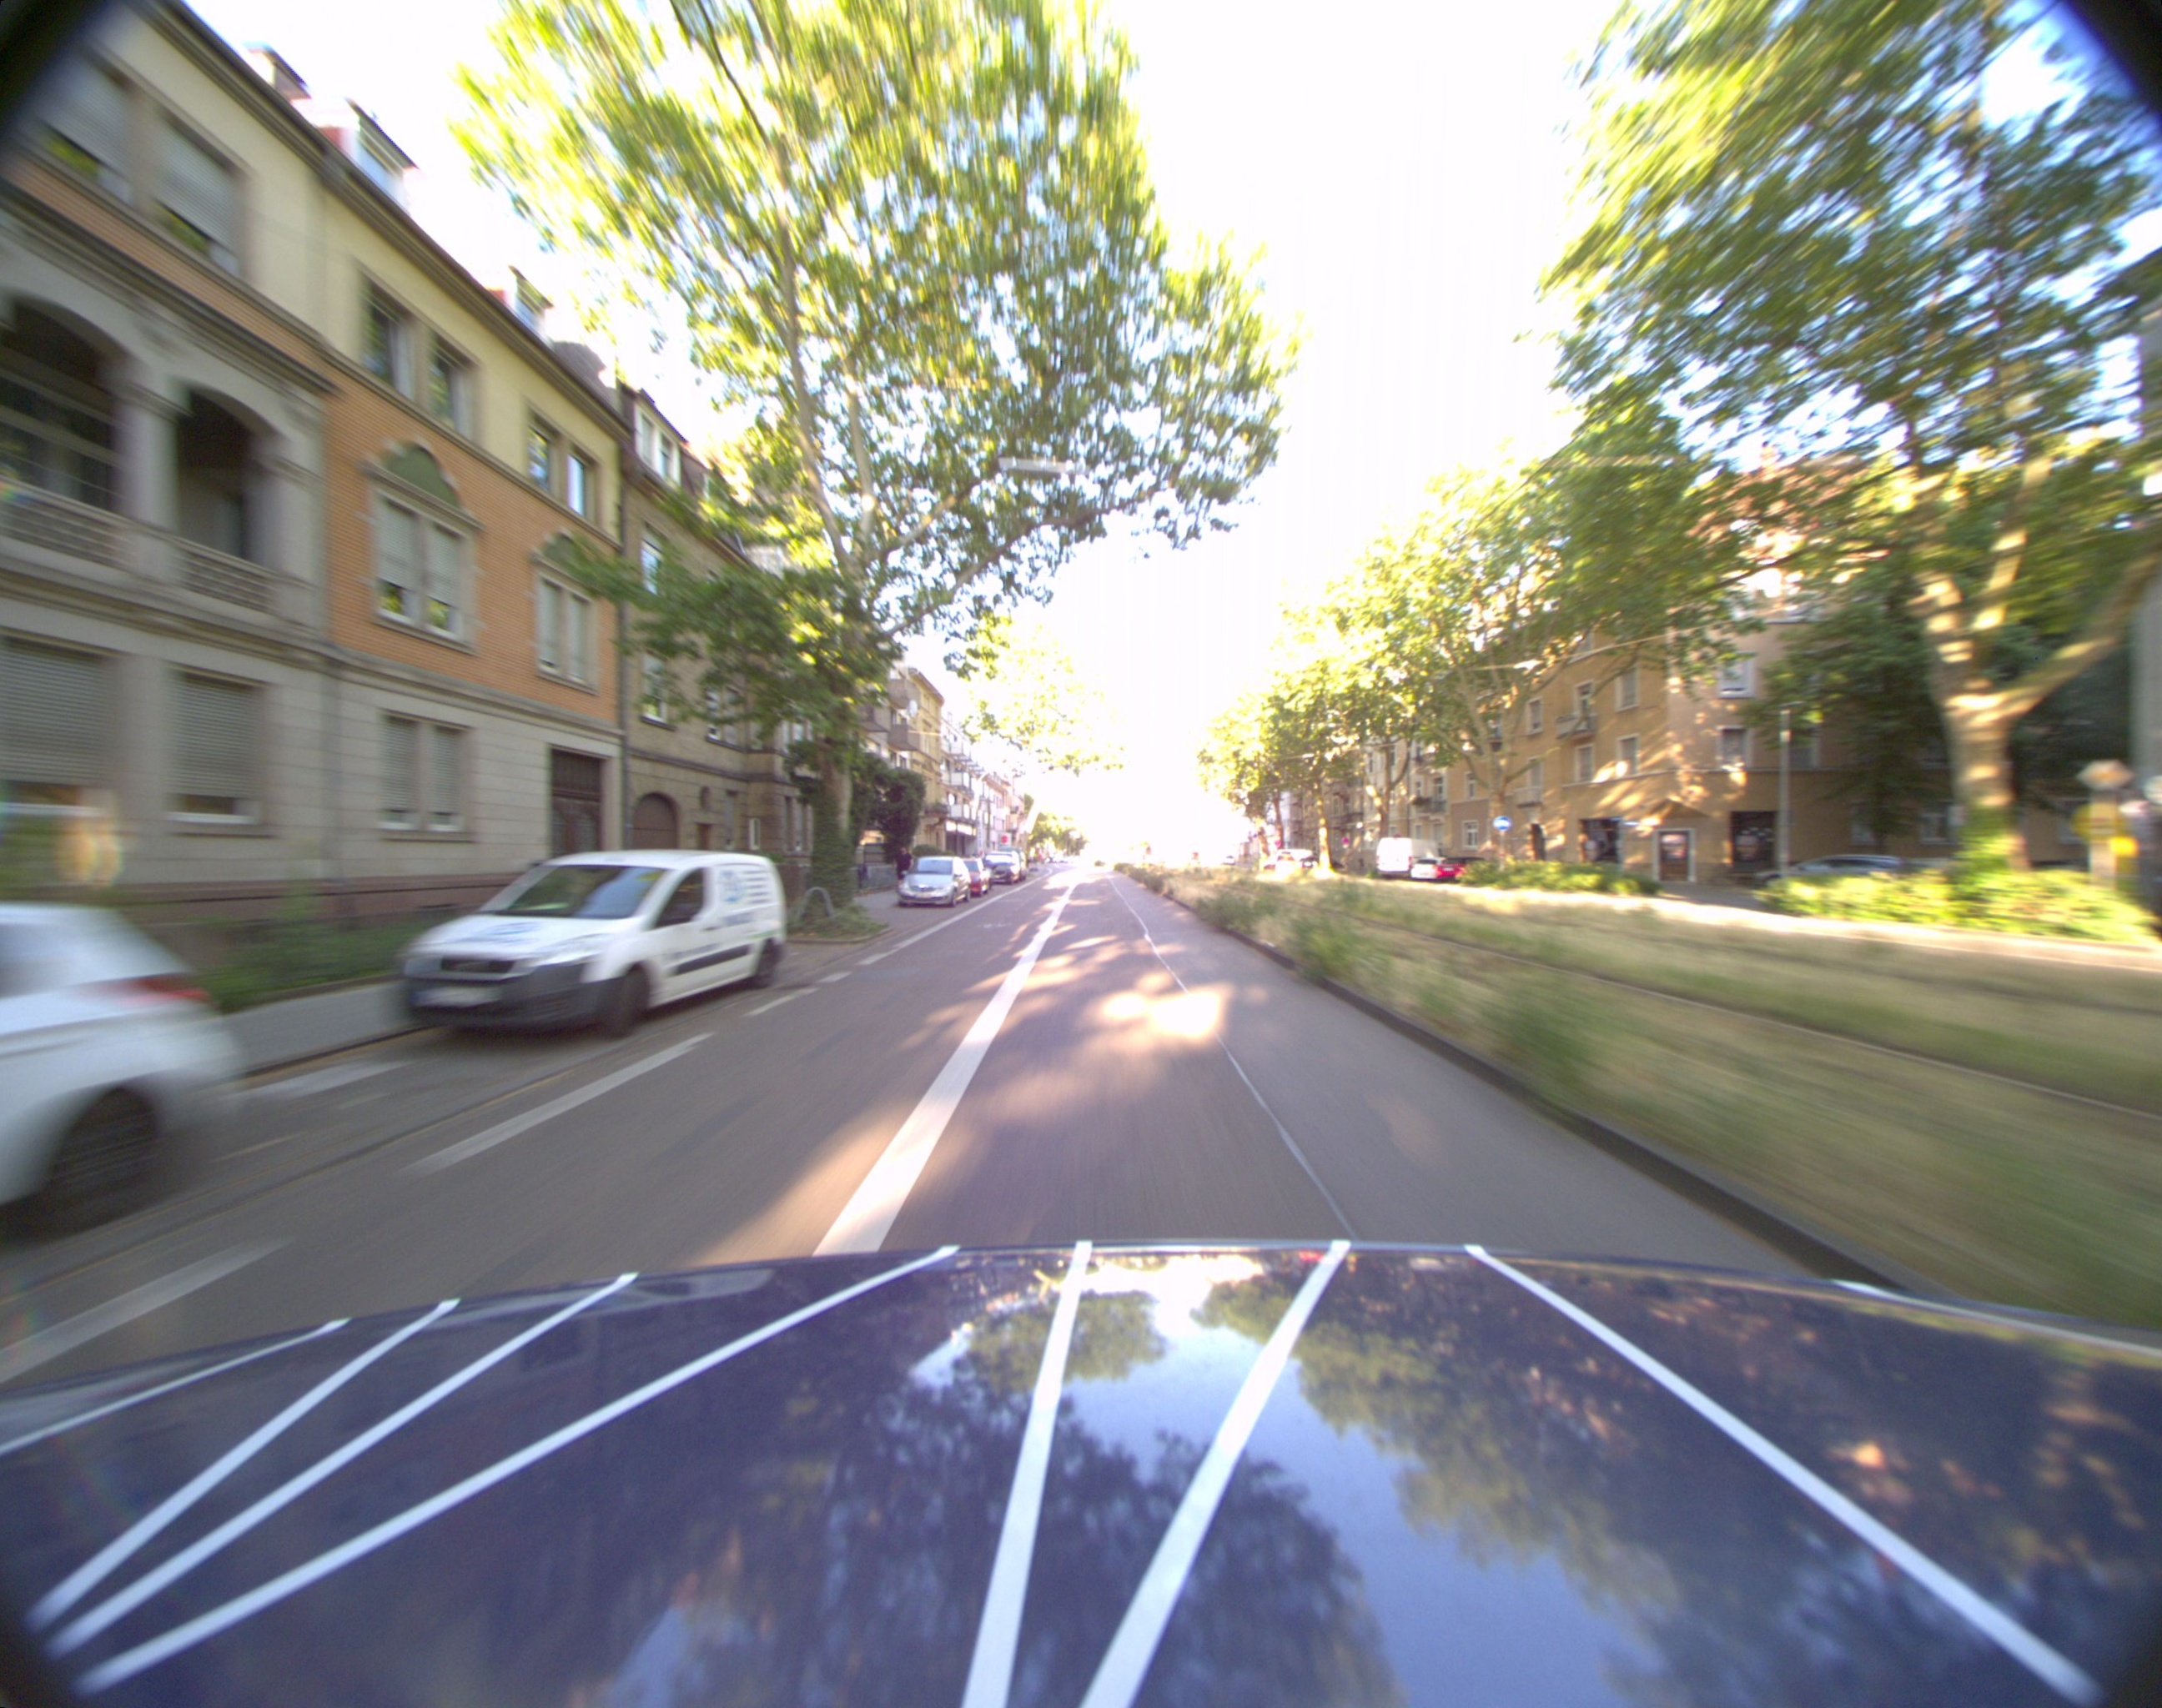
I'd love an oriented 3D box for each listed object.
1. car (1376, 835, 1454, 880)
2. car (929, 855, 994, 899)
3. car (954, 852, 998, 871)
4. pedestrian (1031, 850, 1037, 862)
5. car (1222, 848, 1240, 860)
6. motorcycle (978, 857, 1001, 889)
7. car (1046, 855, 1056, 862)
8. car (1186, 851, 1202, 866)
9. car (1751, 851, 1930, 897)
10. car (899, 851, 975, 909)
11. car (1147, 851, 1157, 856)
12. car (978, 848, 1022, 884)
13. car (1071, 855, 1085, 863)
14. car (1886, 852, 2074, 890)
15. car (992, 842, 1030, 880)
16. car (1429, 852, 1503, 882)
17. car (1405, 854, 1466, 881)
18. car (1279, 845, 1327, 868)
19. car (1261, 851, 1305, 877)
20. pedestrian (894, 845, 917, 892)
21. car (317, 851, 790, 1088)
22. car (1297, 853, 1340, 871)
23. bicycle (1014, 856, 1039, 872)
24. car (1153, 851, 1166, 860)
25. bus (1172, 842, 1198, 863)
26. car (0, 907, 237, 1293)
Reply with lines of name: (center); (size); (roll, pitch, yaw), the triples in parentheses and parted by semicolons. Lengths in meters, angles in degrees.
car: (19.927, 0.149, 45.161); (5.519, 2.514, 2.120); (-1, 1, -42)
car: (-4.728, 0.868, 30.637); (1.999, 1.551, 3.979); (-1, 1, -1)
car: (-8.769, 0.606, 63.605); (3.427, 1.538, 1.442); (-1, 1, -2)
pedestrian: (-7.086, 0.274, 115.127); (0.831, 1.802, 1.150); (-1, 2, -1)
car: (23.297, 0.038, 118.121); (1.909, 1.776, 4.653); (-1, 1, 2)
motorcycle: (-4.234, 0.871, 34.946); (0.826, 1.390, 2.377); (1, 0, -12)
car: (-7.174, 1.124, 183.776); (1.877, 1.586, 4.001); (-1, 0, 4)
car: (13.816, 0.526, 93.270); (1.872, 1.684, 4.778); (0, 1, 8)
car: (29.048, 0.702, 29.250); (1.799, 1.495, 4.519); (-1, 2, -30)
car: (-4.685, 0.798, 25.258); (1.749, 1.681, 3.851); (-1, 1, 0)
car: (20.596, -0.049, 221.048); (1.738, 1.471, 3.810); (0, 0, -13)
car: (-4.498, 0.630, 42.945); (1.999, 1.819, 4.756); (-1, 1, -1)
car: (-0.621, 1.017, 156.222); (1.832, 1.696, 4.005); (0, 1, 18)
car: (34.290, 0.610, 29.135); (1.799, 1.328, 4.407); (-1, 0, -30)
car: (-4.406, 0.373, 48.677); (1.999, 2.244, 5.233); (-1, 1, -1)
car: (20.029, 0.658, 39.512); (3.716, 1.457, 1.732); (1, 0, -31)
car: (19.789, 0.697, 42.344); (3.717, 1.391, 1.731); (-1, 1, -42)
car: (20.527, 0.186, 70.145); (5.257, 2.054, 1.717); (-1, 1, -42)
car: (13.021, 0.635, 49.159); (1.794, 1.565, 4.000); (-1, 1, 1)
pedestrian: (-7.258, 0.580, 31.445); (0.712, 1.926, 0.815); (-1, 1, 1)
car: (-4.923, 0.892, 8.066); (1.748, 1.760, 4.394); (-1, 1, 3)
car: (19.952, 0.644, 63.797); (3.736, 1.414, 1.717); (-1, 1, -42)
bicycle: (-4.141, 0.741, 57.530); (1.849, 1.137, 0.348); (-1, 2, 0)
car: (13.524, 0.190, 130.606); (1.720, 1.477, 4.699); (2, 0, 0)
bus: (18.071, -0.323, 132.850); (3.262, 3.355, 11.976); (-1, 1, 2)
car: (-5.146, 1.026, 1.871); (1.649, 1.477, 3.999); (0, 0, 0)
